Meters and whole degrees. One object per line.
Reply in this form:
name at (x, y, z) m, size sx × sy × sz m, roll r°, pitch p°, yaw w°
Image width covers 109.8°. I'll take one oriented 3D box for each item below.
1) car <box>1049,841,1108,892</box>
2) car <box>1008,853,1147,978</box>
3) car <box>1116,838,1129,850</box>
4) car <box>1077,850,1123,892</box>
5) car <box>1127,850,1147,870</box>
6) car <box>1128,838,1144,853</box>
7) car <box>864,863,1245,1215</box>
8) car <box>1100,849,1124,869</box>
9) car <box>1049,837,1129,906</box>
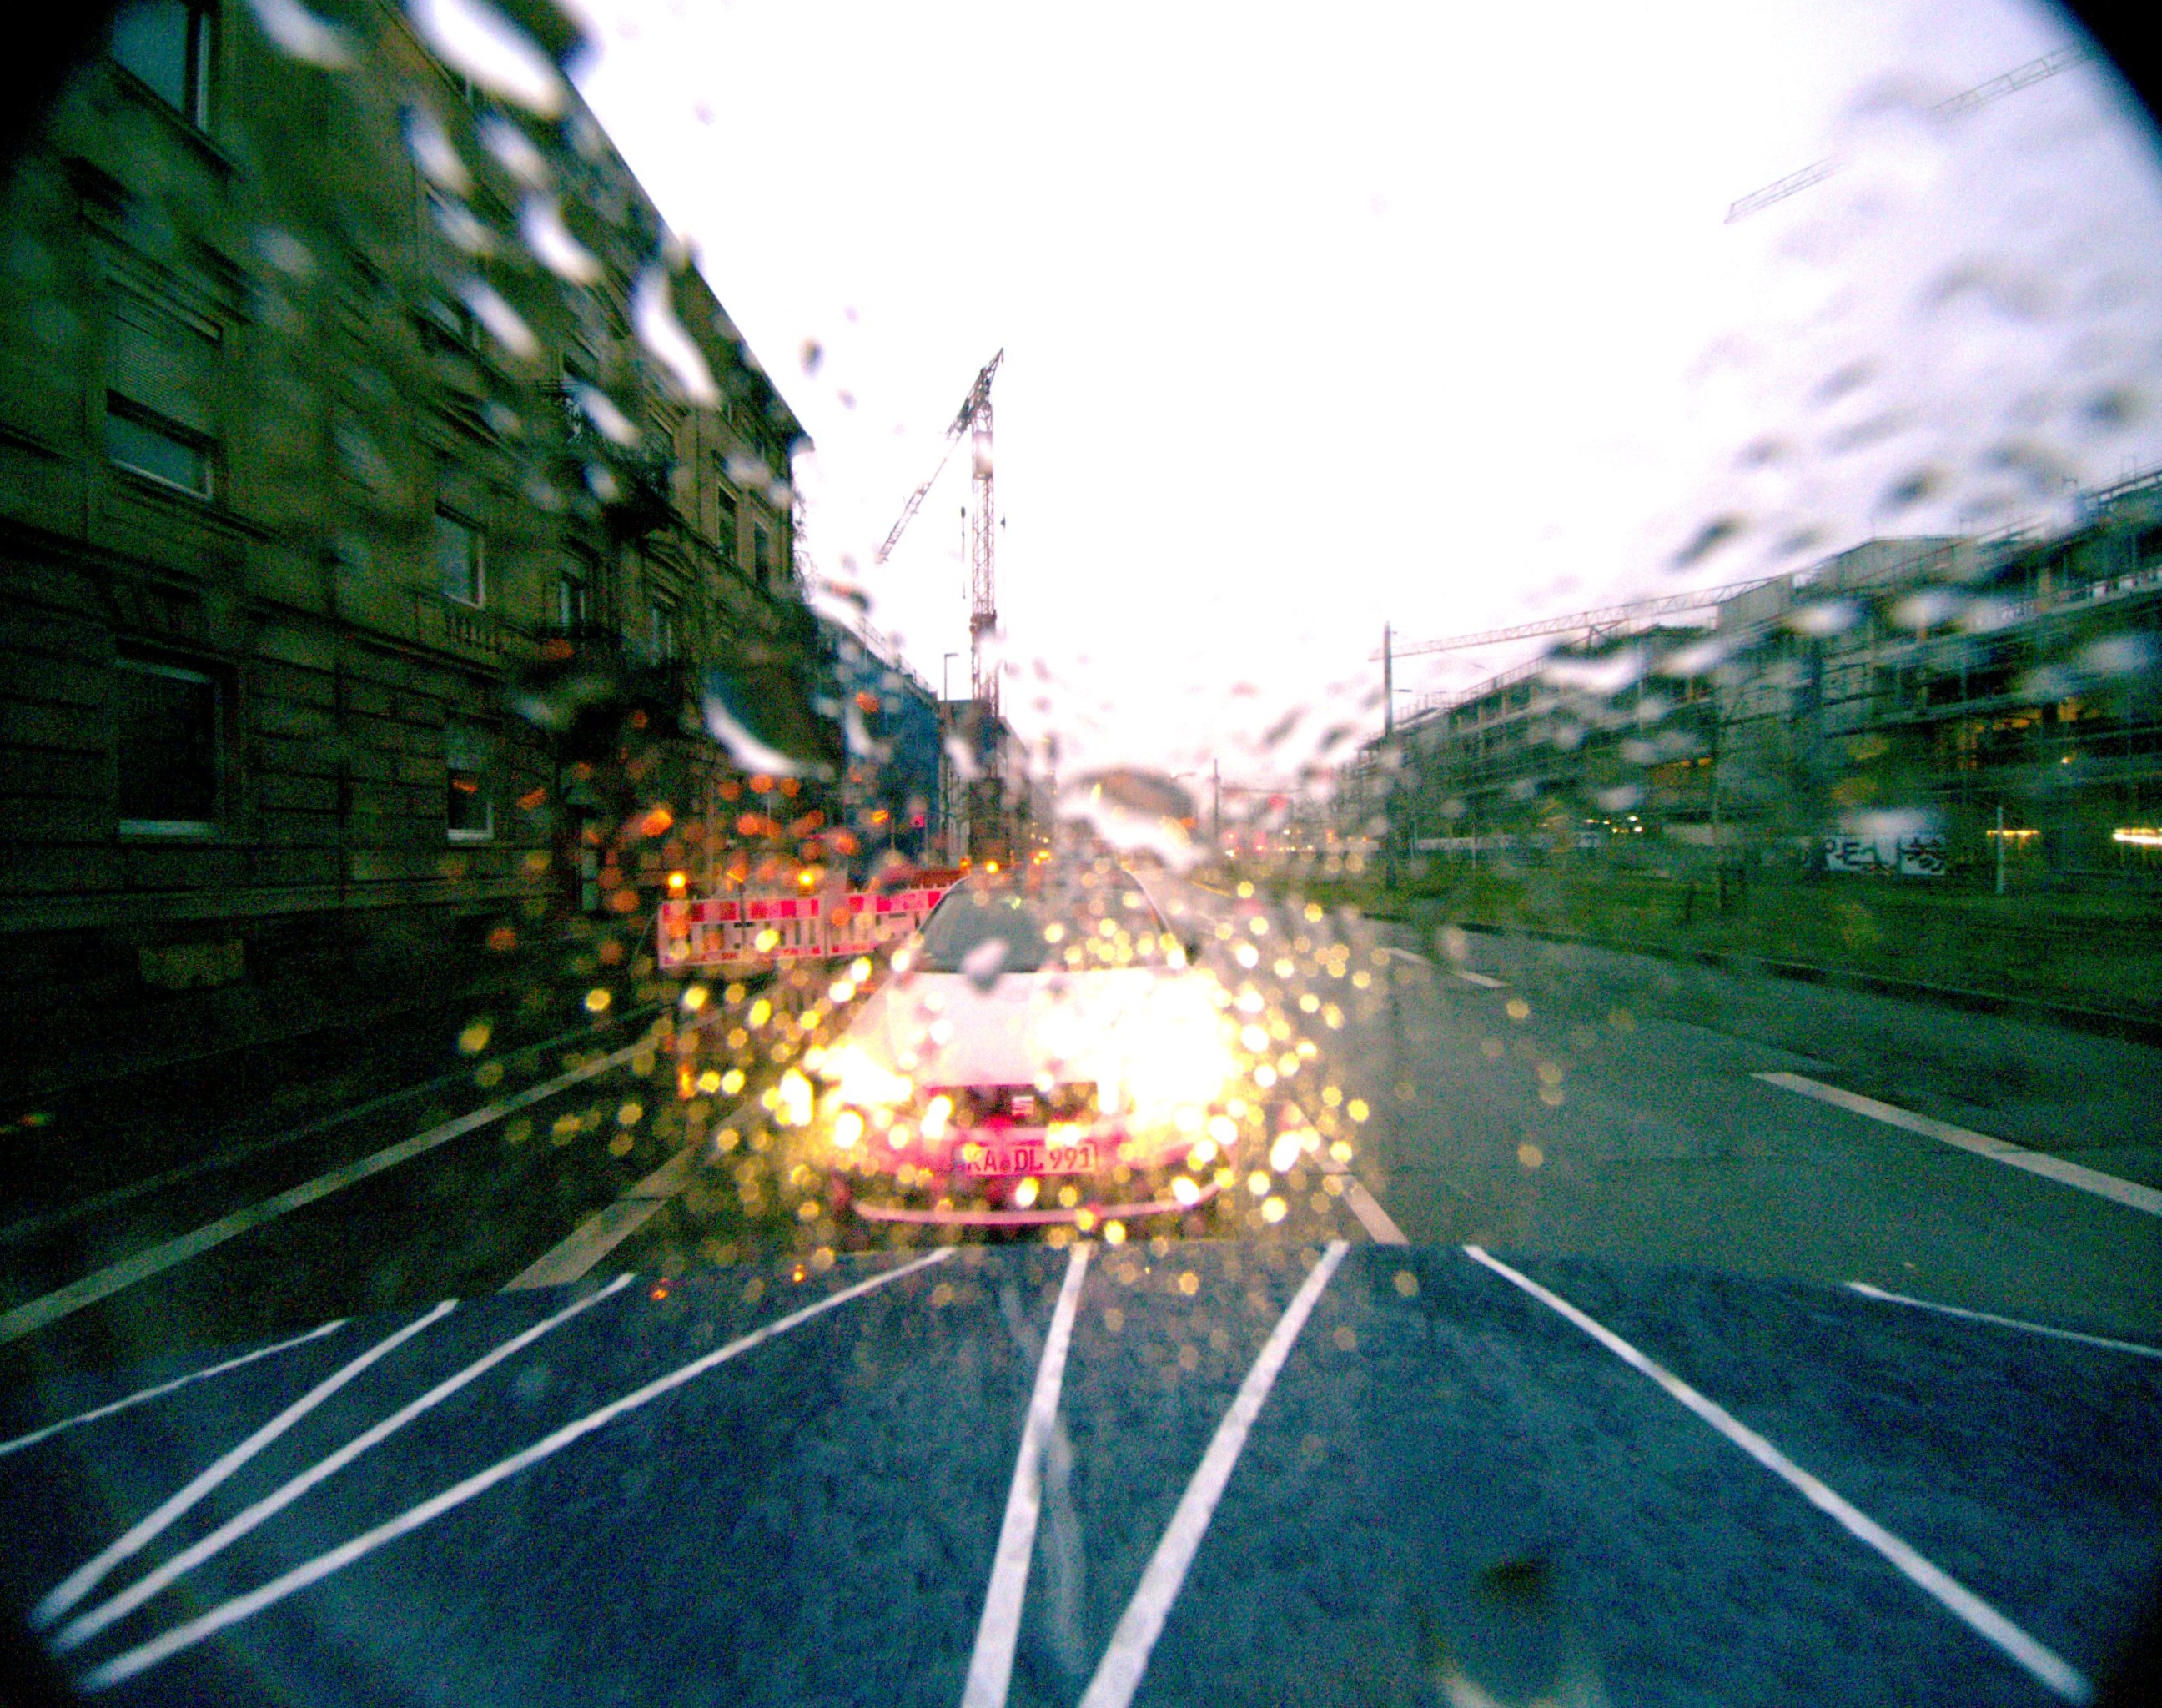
car at (-0.090, 0.353, 25.441) m, size 1.769 × 1.504 × 3.899 m, roll -3°, pitch 1°, yaw 0°
car at (-0.055, 0.810, 12.010) m, size 1.769 × 1.504 × 3.899 m, roll -3°, pitch 1°, yaw 0°
car at (5.902, -1.408, 107.033) m, size 1.768 × 1.614 × 3.900 m, roll -3°, pitch 1°, yaw 4°
car at (0.848, 0.675, 32.336) m, size 1.768 × 1.504 × 3.900 m, roll -3°, pitch 1°, yaw 3°
car at (5.123, 0.505, 69.737) m, size 1.768 × 1.614 × 3.900 m, roll -3°, pitch 1°, yaw 4°
car at (6.301, -1.017, 87.341) m, size 1.768 × 1.614 × 3.900 m, roll -3°, pitch 1°, yaw 4°
car at (-0.130, 0.920, 5.618) m, size 1.769 × 1.504 × 3.899 m, roll -3°, pitch 1°, yaw 0°
car at (2.560, 0.406, 63.048) m, size 1.769 × 1.504 × 3.899 m, roll -3°, pitch 1°, yaw 0°
car at (0.172, 0.362, 19.309) m, size 1.769 × 1.504 × 3.899 m, roll -3°, pitch 1°, yaw 0°
